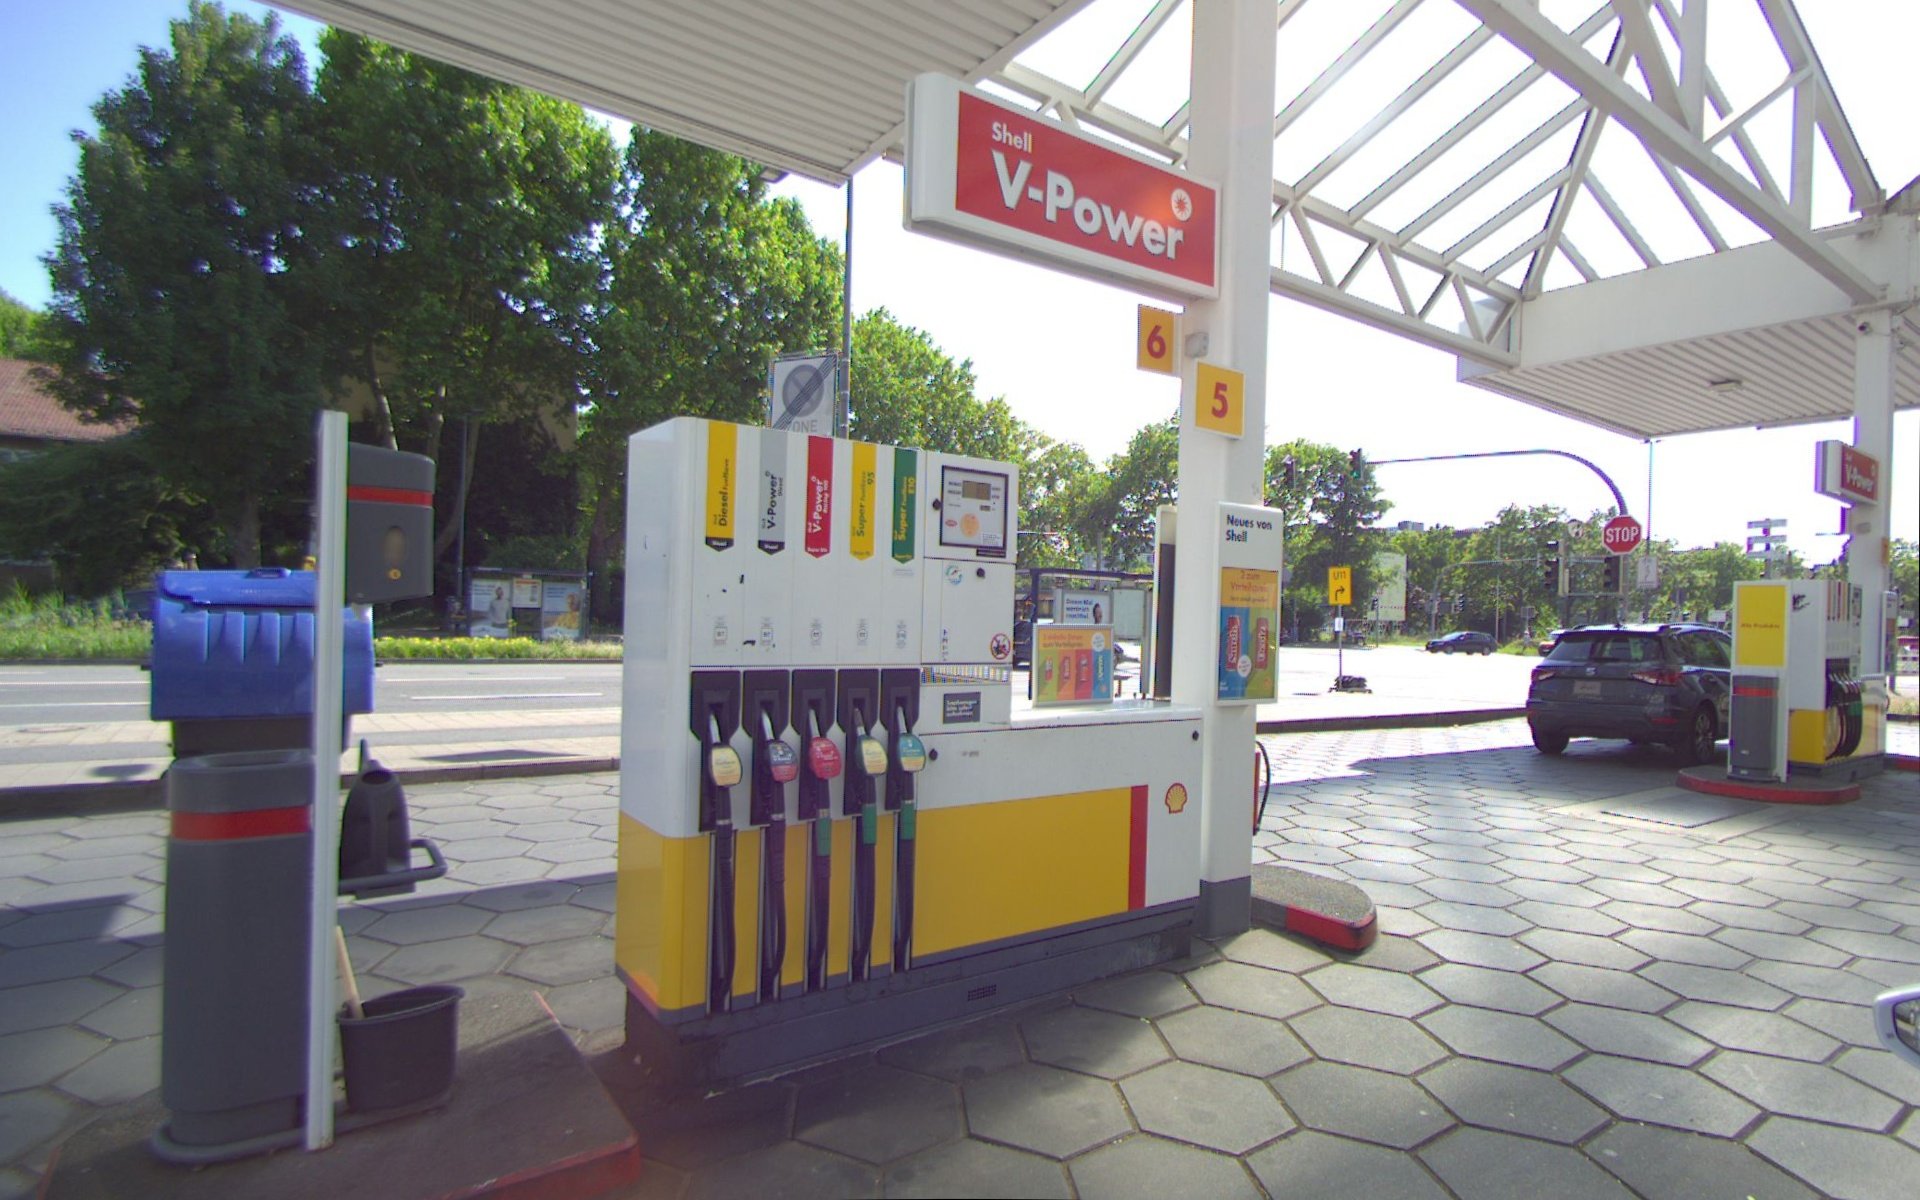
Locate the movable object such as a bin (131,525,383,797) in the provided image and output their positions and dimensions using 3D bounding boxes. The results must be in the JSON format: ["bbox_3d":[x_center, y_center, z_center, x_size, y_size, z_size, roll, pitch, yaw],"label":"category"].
[{"bbox_3d":[-5.015,0.426,7.264,1.323,1.710,1.330,2,-3,-34],"label":"movable object such as a bin"}]

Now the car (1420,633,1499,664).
[{"bbox_3d":[31.902,3.090,64.152,4.133,1.829,1.998,2,-2,-8],"label":"car"}]

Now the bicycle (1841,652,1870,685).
[{"bbox_3d":[31.452,2.380,35.287,0.631,1.096,2.013,2,-1,45],"label":"bicycle"}]

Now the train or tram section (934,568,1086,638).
[{"bbox_3d":[3.210,0.164,73.260,2.306,4.549,14.794,3,-1,-35],"label":"train or tram section"}]

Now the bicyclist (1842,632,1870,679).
[{"bbox_3d":[31.334,1.929,35.109,1.165,1.601,0.631,2,0,-45],"label":"bicyclist"}]

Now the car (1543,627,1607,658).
[{"bbox_3d":[42.428,2.923,69.277,4.396,2.040,1.984,3,-3,-31],"label":"car"}]

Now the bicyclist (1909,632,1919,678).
[{"bbox_3d":[33.089,1.904,34.448,0.525,1.564,0.864,2,0,28],"label":"bicyclist"}]

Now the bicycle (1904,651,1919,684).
[{"bbox_3d":[33.051,2.321,34.428,0.515,1.096,1.864,2,0,28],"label":"bicycle"}]

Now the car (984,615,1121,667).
[{"bbox_3d":[2.825,1.234,30.260,3.964,1.385,1.668,3,1,-36],"label":"car"}]

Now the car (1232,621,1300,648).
[{"bbox_3d":[21.267,2.387,69.834,4.144,1.829,1.993,-1,-3,37],"label":"car"}]

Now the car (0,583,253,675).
[{"bbox_3d":[-18.045,0.634,21.765,4.353,1.792,1.978,2,-1,-38],"label":"car"}]

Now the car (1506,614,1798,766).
[{"bbox_3d":[8.453,1.017,12.166,3.962,1.552,1.731,3,-2,-36],"label":"car"}]

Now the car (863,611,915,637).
[{"bbox_3d":[-4.953,1.685,69.361,1.850,1.711,3.963,3,-3,-34],"label":"car"}]

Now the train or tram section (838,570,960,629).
[{"bbox_3d":[-5.588,-0.070,85.733,2.306,4.549,15.766,3,-1,-35],"label":"train or tram section"}]
